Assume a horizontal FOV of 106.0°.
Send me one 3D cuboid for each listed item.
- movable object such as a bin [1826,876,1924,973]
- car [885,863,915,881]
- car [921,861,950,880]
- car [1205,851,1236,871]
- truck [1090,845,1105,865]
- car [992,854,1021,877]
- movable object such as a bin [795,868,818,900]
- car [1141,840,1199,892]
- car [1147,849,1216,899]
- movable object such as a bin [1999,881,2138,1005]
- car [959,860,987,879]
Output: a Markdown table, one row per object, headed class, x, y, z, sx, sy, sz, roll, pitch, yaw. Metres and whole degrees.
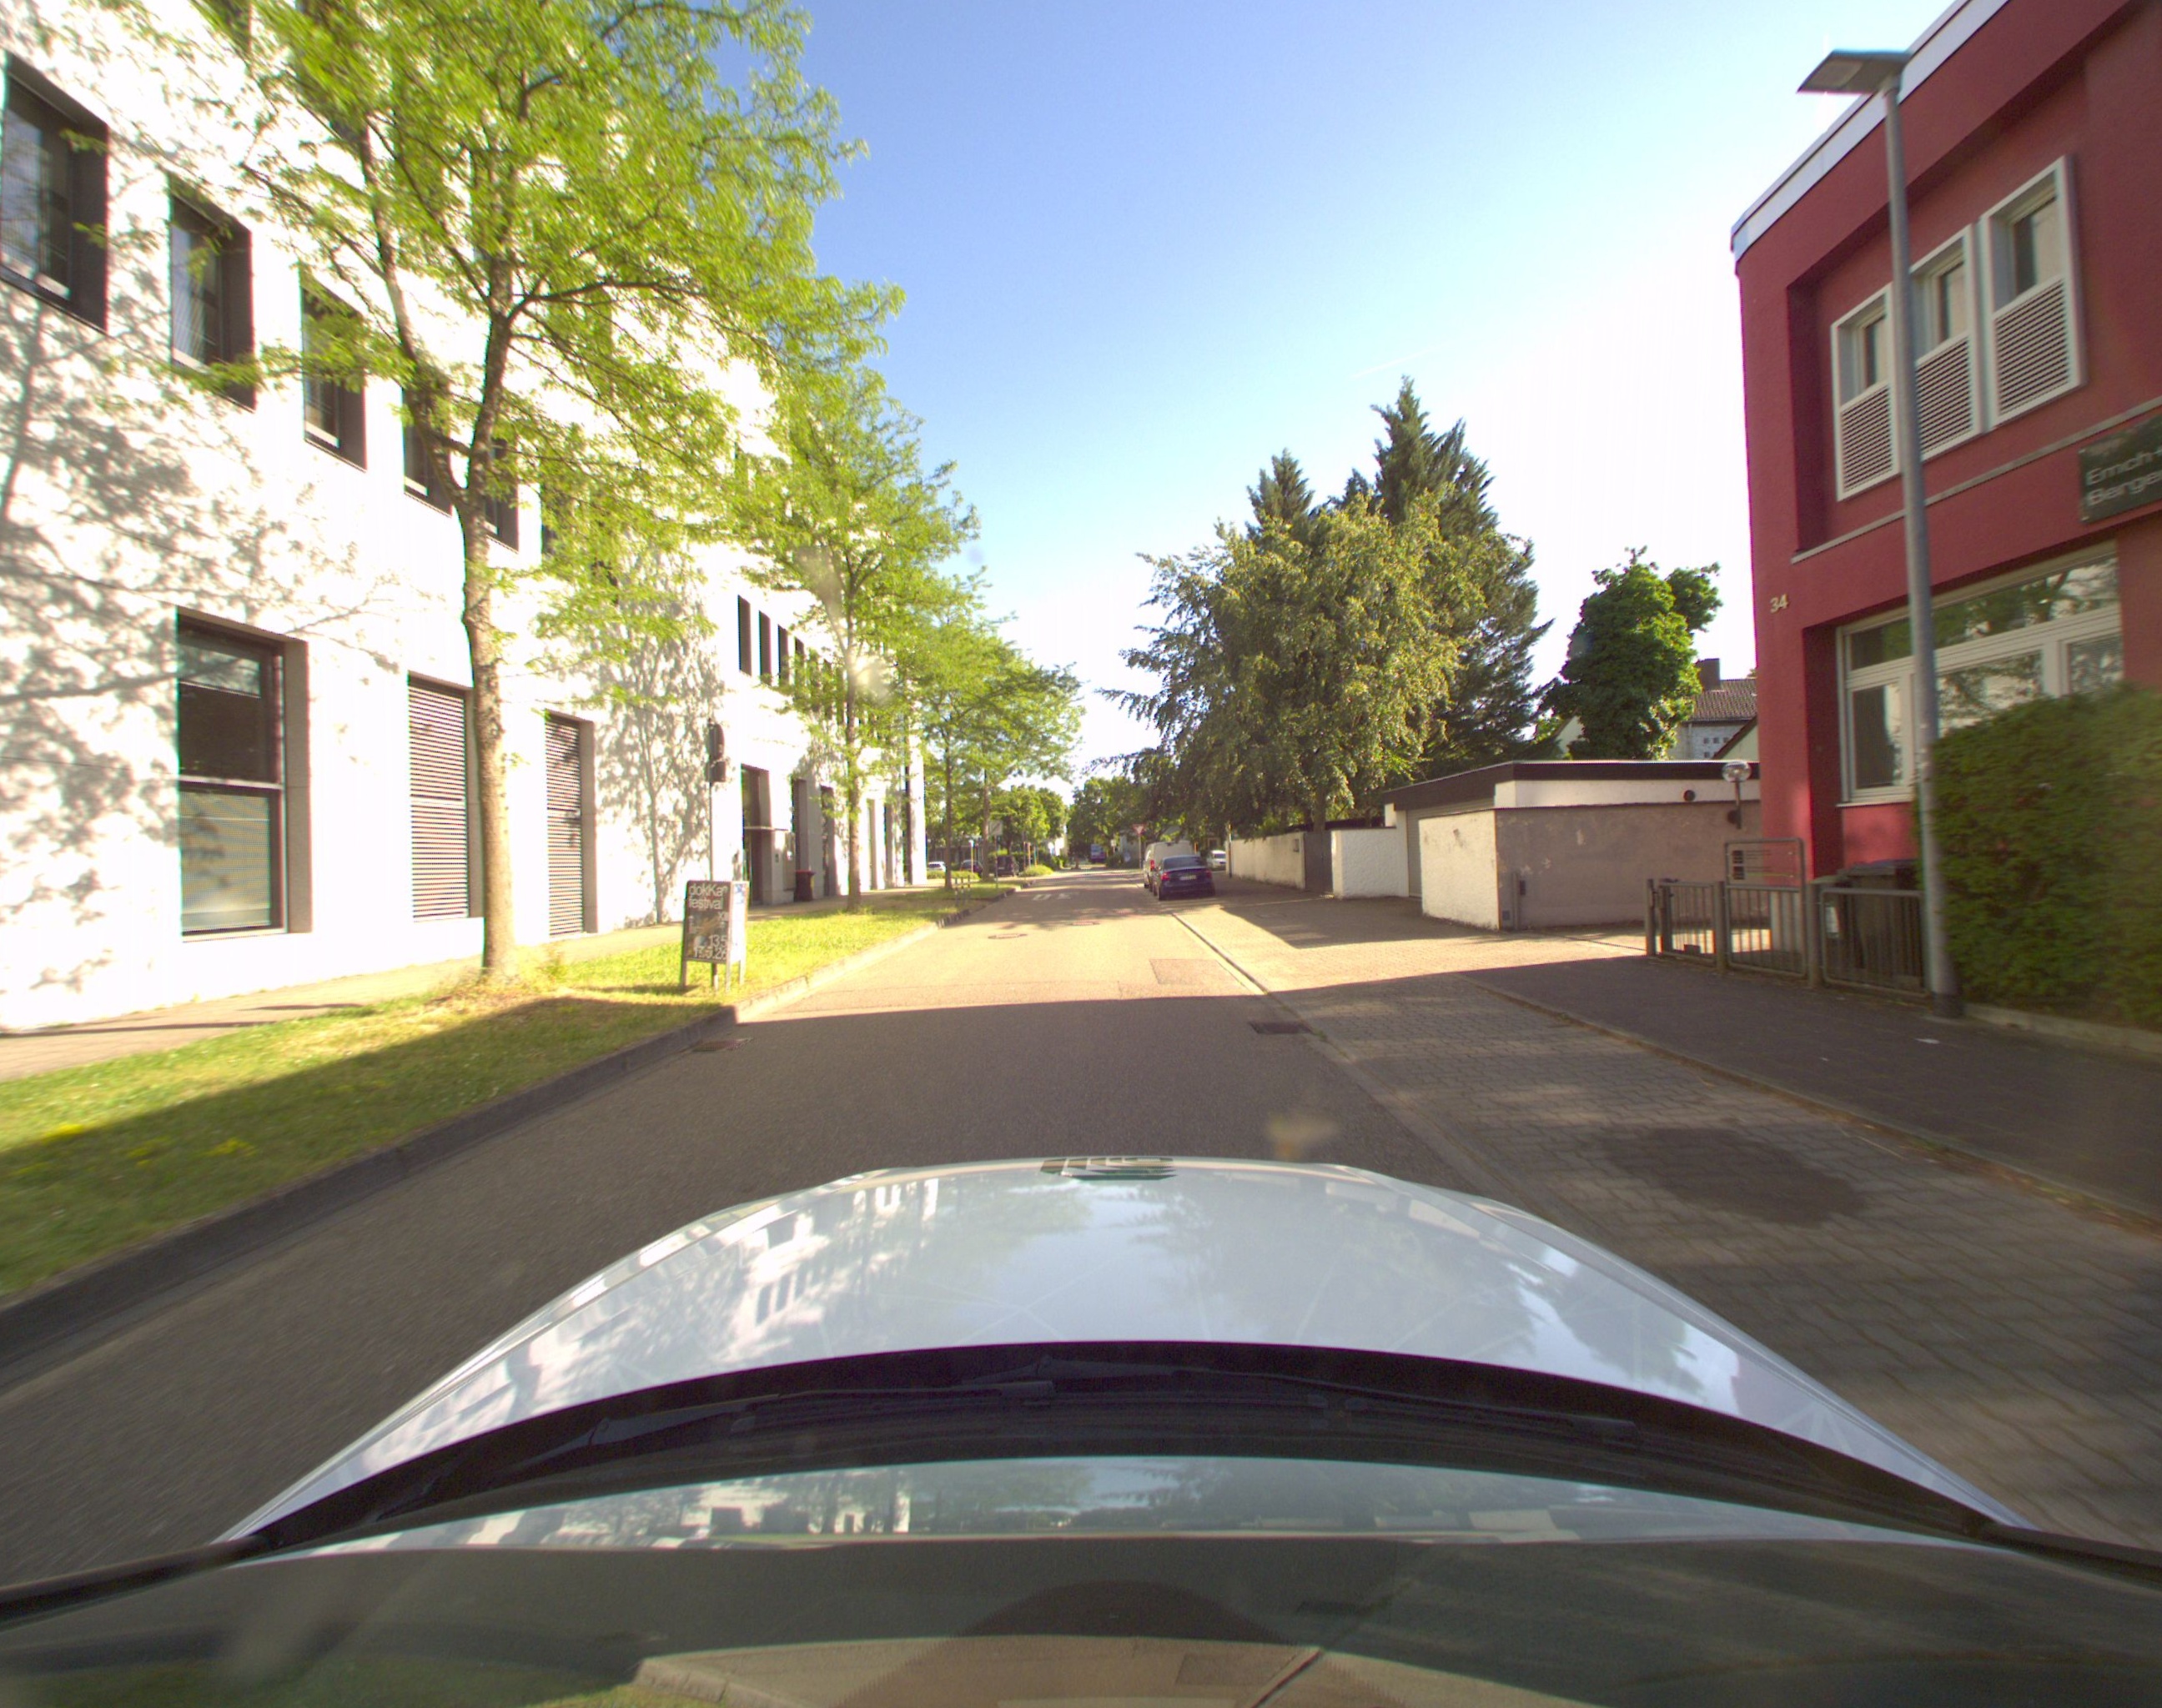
| class | x | y | z | sx | sy | sz | roll | pitch | yaw |
| --- | --- | --- | --- | --- | --- | --- | --- | --- | --- |
| movable object such as a bin | 7.732 | 0.671 | 7.946 | 0.475 | 0.901 | 0.475 | -1 | 0 | 2 |
| car | -15.391 | 1.489 | 69.443 | 1.662 | 1.426 | 3.911 | -1 | 0 | -1 |
| car | -12.457 | 1.411 | 69.780 | 1.797 | 1.436 | 3.911 | -1 | 1 | -1 |
| car | 11.814 | 0.558 | 69.238 | 1.818 | 1.598 | 4.167 | -2 | 1 | -1 |
| truck | 3.366 | 0.135 | 164.245 | 2.749 | 3.869 | 9.332 | -1 | 0 | 2 |
| car | -6.327 | 0.956 | 69.502 | 1.867 | 1.846 | 4.170 | -2 | 1 | 1 |
| movable object such as a bin | -9.334 | 1.020 | 27.671 | 0.591 | 1.040 | 0.543 | -1 | 0 | -1 |
| car | 3.576 | 0.465 | 33.550 | 1.891 | 1.914 | 5.150 | -2 | 0 | 2 |
| car | 3.283 | 0.623 | 27.291 | 1.819 | 1.423 | 4.285 | -5 | 0 | 2 |
| movable object such as a bin | 7.579 | 0.667 | 6.267 | 0.475 | 0.901 | 0.475 | -1 | 0 | 2 |
| car | -9.184 | 1.321 | 69.556 | 1.818 | 1.406 | 4.167 | -2 | 1 | -1 |
